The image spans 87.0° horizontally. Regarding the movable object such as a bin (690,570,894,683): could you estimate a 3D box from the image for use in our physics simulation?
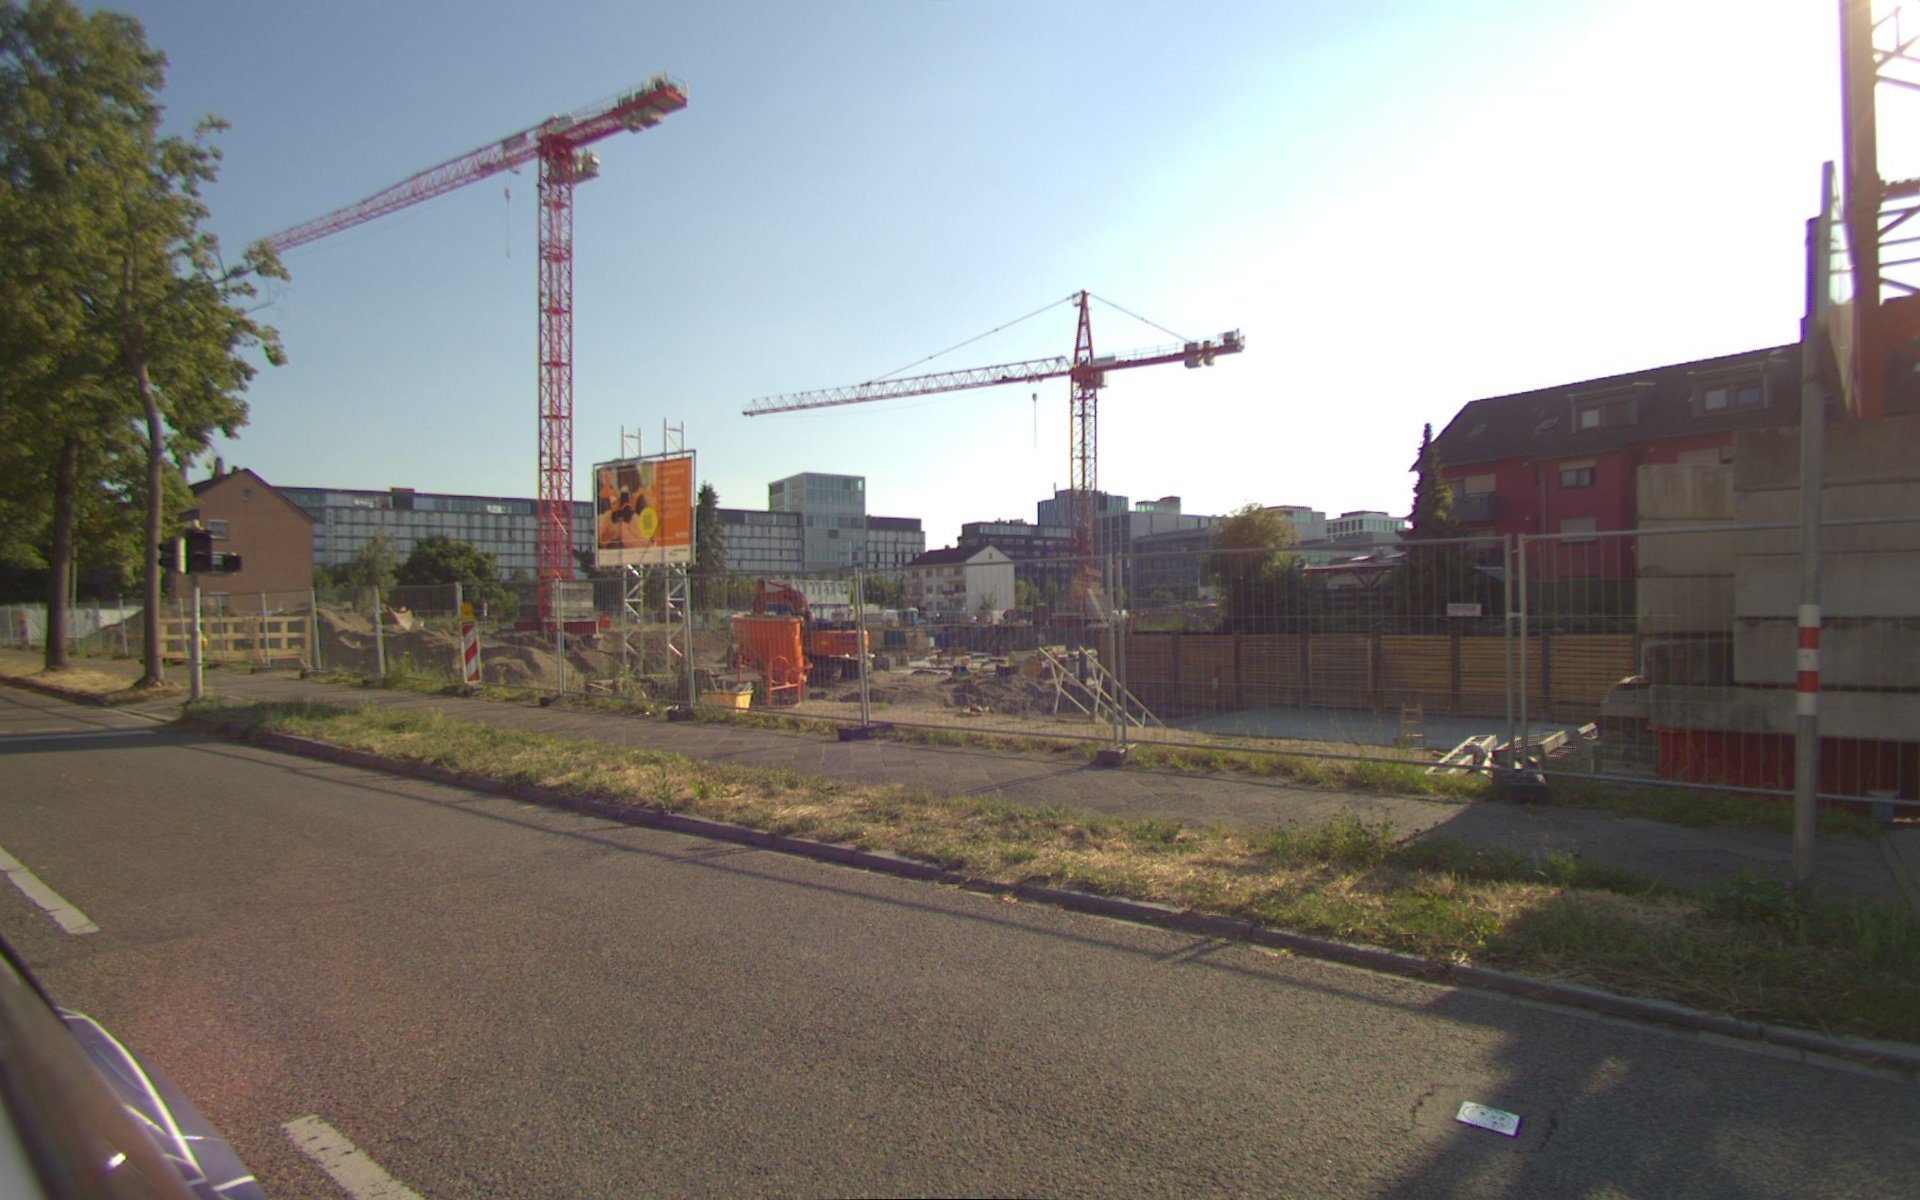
[{"bbox_3d":[-8.851,1.102,51.617,4.039,5.101,12.234,-3,2,-44],"label":"movable object such as a bin"}]
